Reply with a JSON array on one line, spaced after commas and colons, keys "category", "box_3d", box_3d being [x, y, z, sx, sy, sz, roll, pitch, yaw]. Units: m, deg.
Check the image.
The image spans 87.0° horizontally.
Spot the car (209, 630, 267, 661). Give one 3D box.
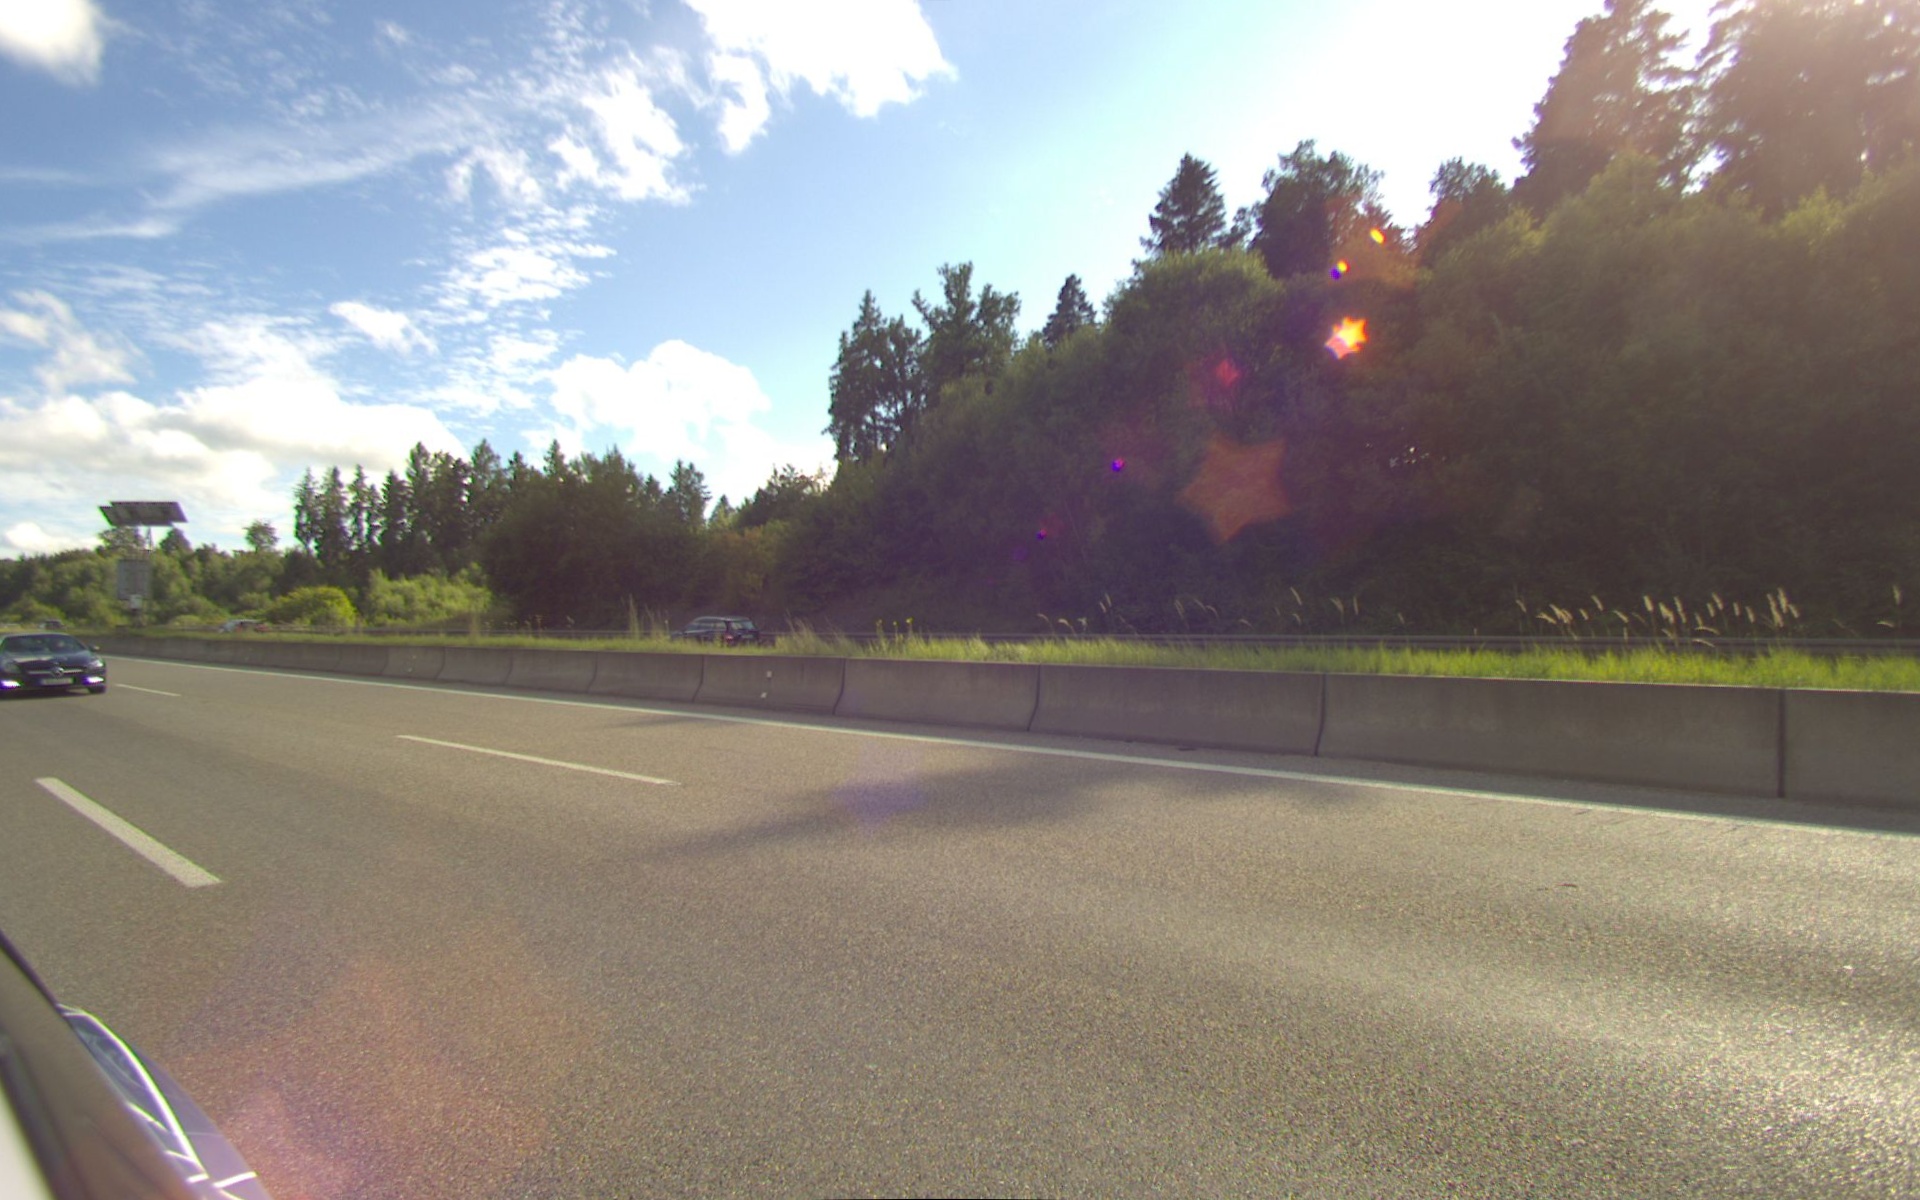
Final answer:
[{"category": "car", "box_3d": [-45.744, 2.847, 64.082, 4.435, 1.895, 1.973, -2, -1, 41]}]

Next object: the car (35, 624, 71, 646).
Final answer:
[{"category": "car", "box_3d": [-84.378, 3.252, 94.102, 4.069, 2.029, 1.973, -2, -1, 40]}]

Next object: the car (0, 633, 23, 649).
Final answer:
[{"category": "car", "box_3d": [-124.904, 5.387, 133.130, 4.426, 1.920, 1.906, -2, -1, 40]}]

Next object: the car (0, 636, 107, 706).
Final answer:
[{"category": "car", "box_3d": [-19.652, 1.450, 21.543, 4.197, 1.293, 1.726, -2, -1, 42]}]

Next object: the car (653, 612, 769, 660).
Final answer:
[{"category": "car", "box_3d": [-9.264, 1.312, 37.497, 4.567, 1.640, 1.860, -2, -1, 41]}]
